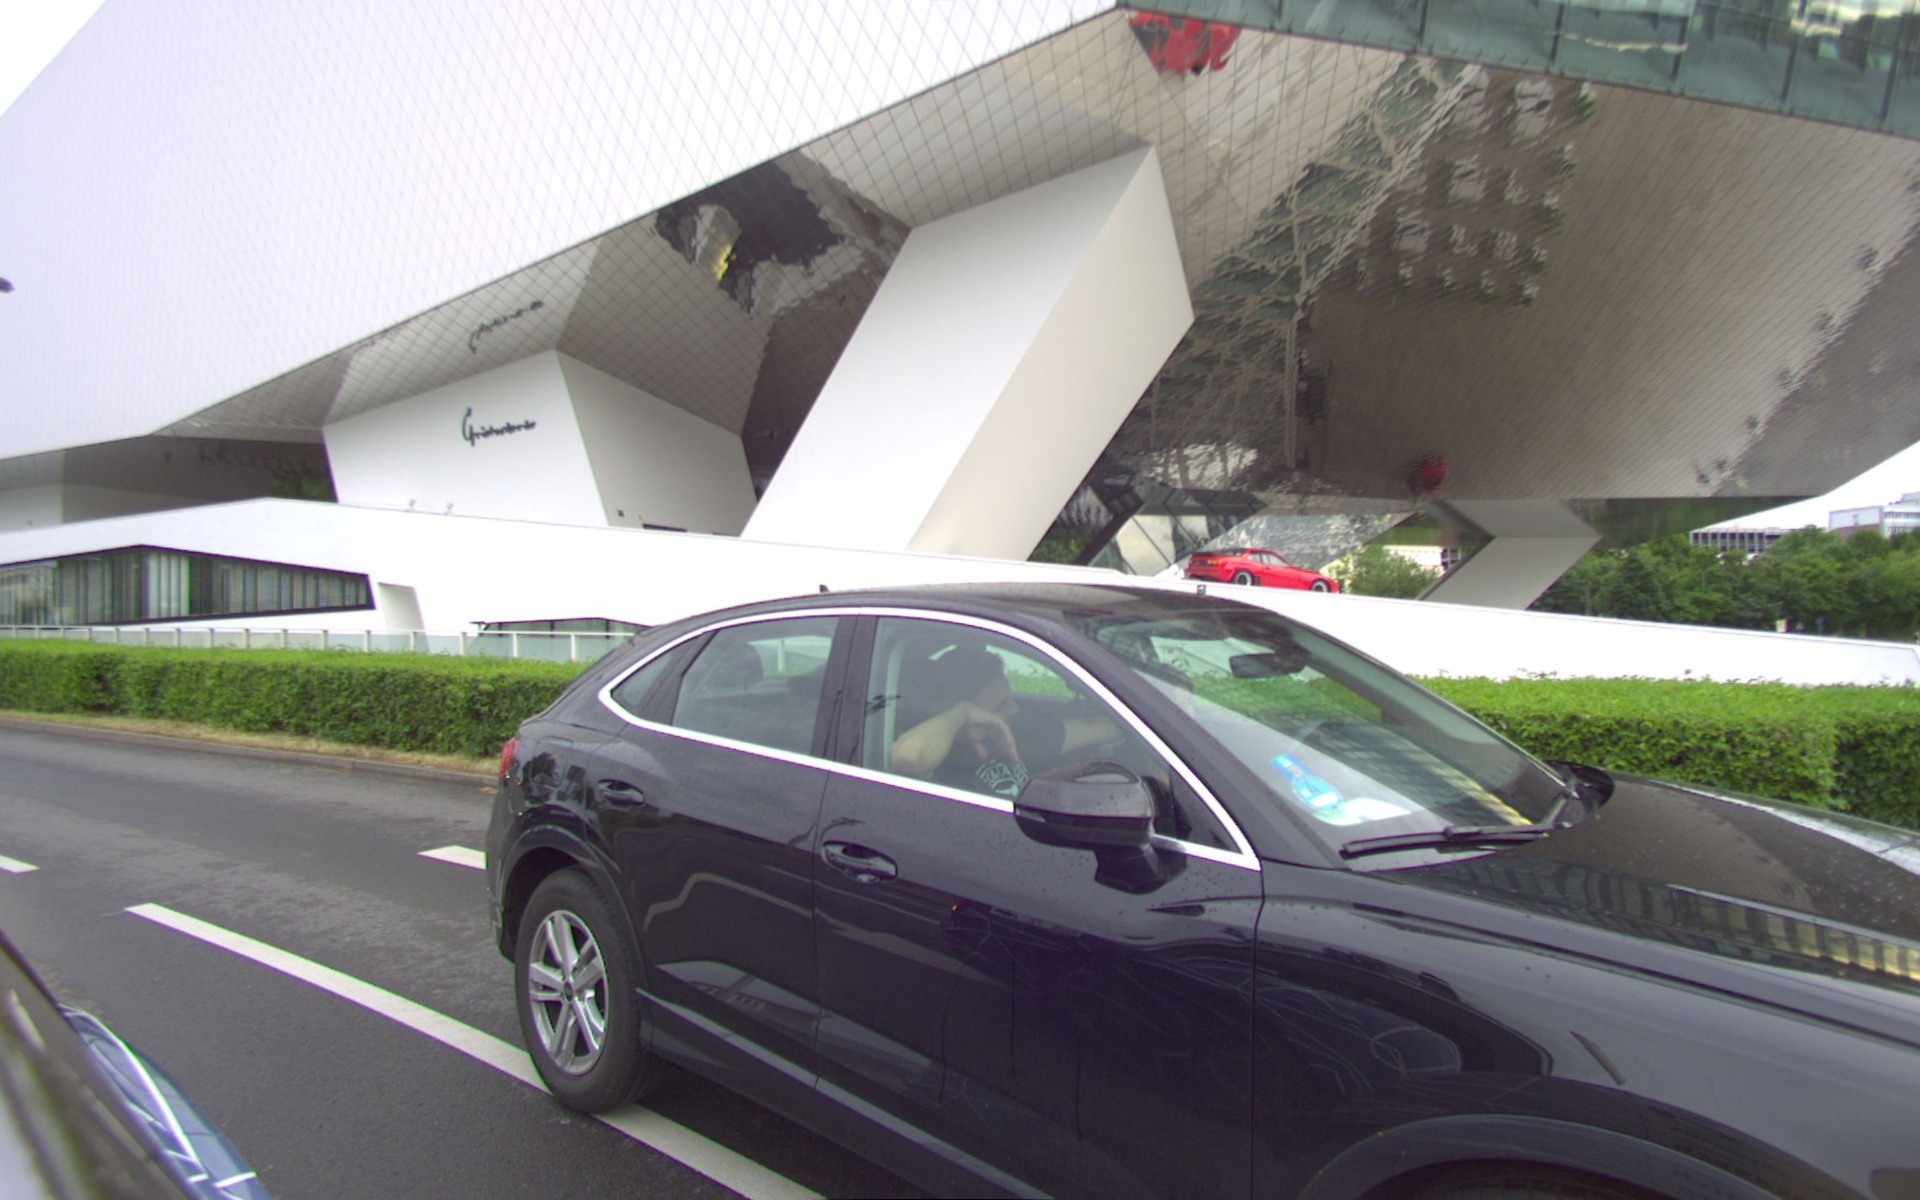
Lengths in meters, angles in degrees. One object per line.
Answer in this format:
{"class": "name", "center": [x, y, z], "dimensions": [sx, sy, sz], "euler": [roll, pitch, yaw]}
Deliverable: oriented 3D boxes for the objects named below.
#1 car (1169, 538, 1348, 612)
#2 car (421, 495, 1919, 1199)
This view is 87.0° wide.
{"class": "car", "center": [8.137, -0.630, 27.678], "dimensions": [4.175, 1.395, 2.006], "euler": [7, -4, -16]}
{"class": "car", "center": [0.383, 0.674, 2.678], "dimensions": [4.392, 1.529, 1.734], "euler": [-1, 0, 41]}
